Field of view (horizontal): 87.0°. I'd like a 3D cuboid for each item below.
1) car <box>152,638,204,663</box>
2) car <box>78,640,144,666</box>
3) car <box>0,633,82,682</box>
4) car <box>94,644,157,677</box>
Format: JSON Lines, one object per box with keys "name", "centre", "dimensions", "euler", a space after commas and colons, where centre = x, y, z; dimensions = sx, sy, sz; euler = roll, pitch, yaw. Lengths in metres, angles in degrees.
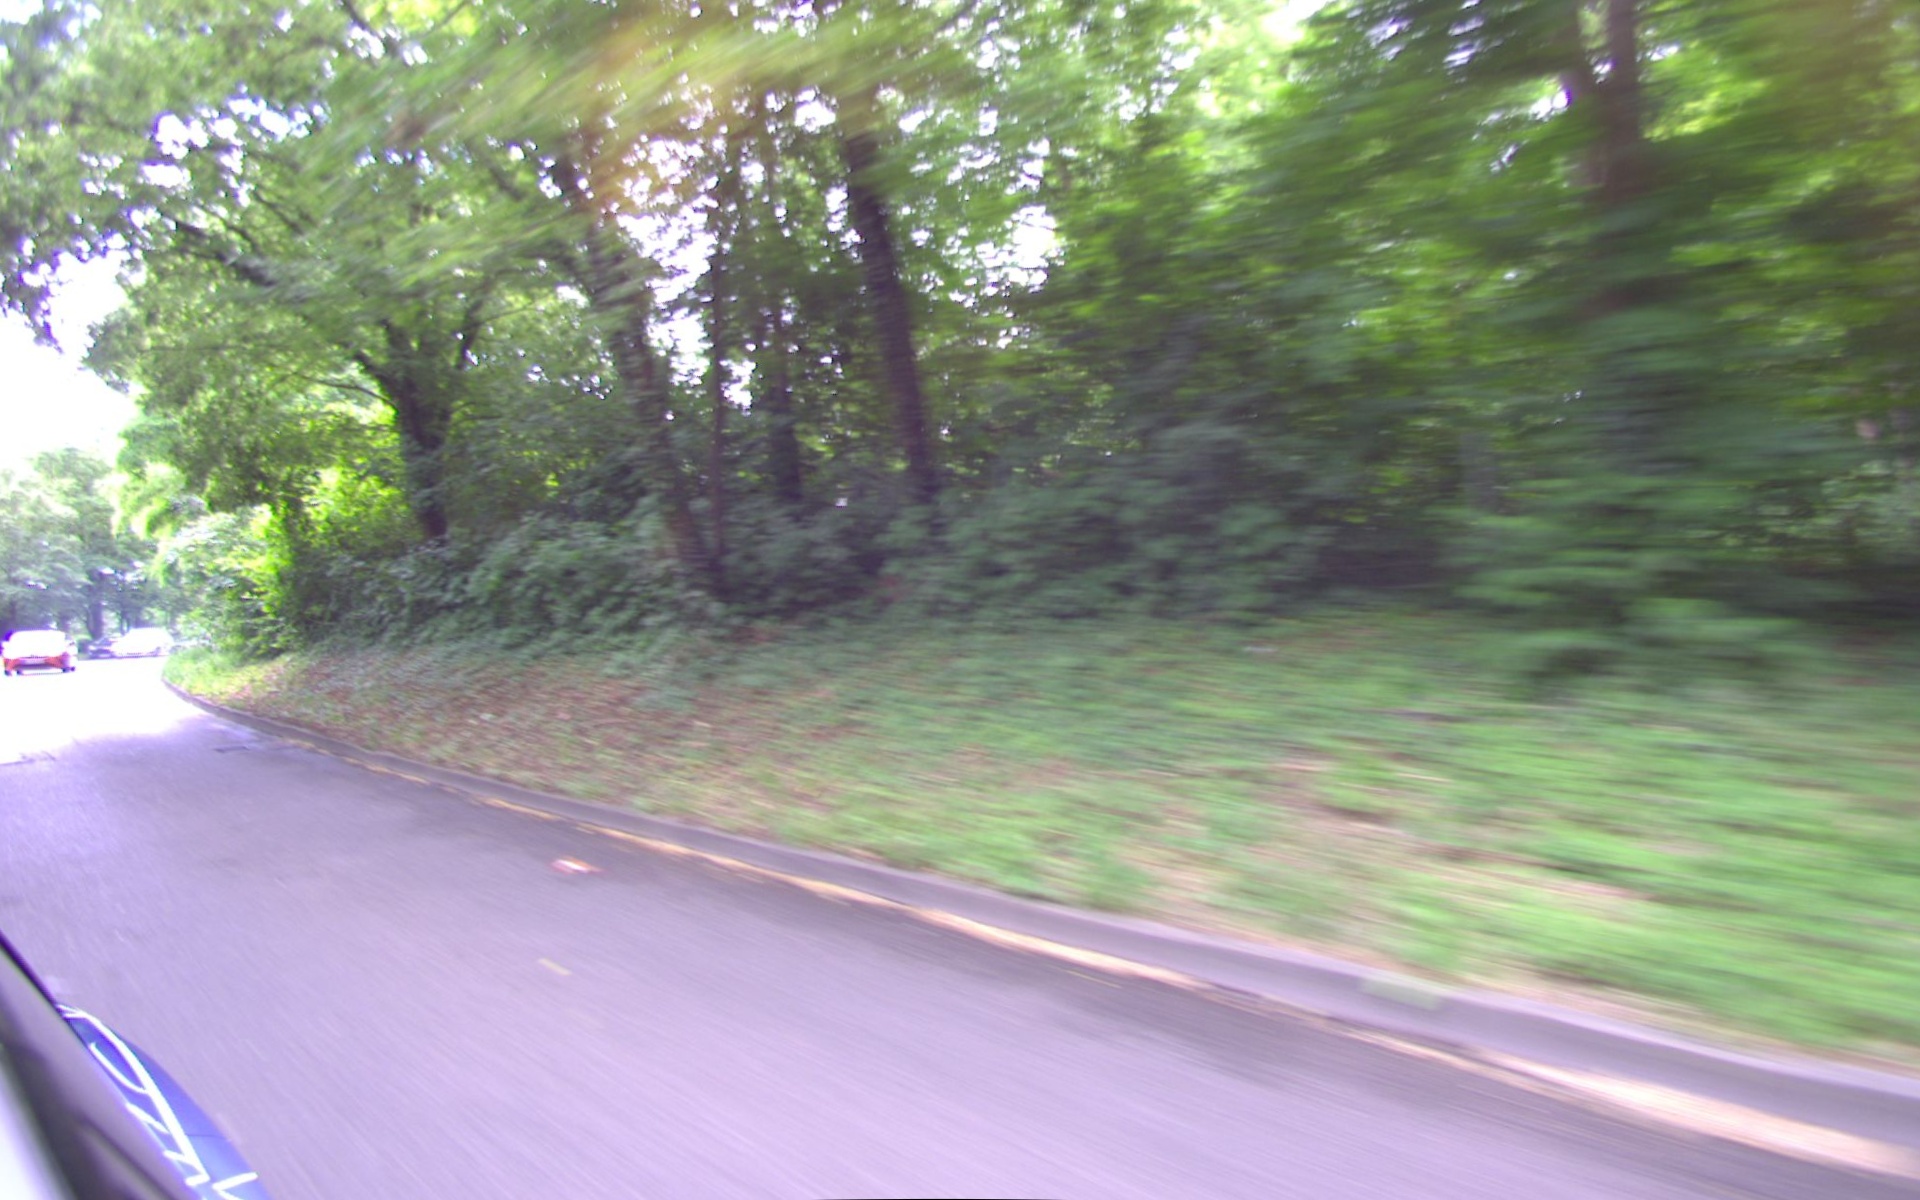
{"name": "car", "centre": [-53.287, 3.412, 69.046], "dimensions": [1.686, 1.432, 4.692], "euler": [-2, 0, -24]}
{"name": "car", "centre": [-49.439, 3.062, 59.031], "dimensions": [1.686, 1.265, 4.692], "euler": [-2, 0, -24]}
{"name": "car", "centre": [-32.110, 1.953, 35.252], "dimensions": [1.927, 1.483, 4.687], "euler": [-2, 0, -37]}
{"name": "car", "centre": [-44.507, 3.207, 53.941], "dimensions": [4.038, 1.580, 1.635], "euler": [-2, 0, 37]}
